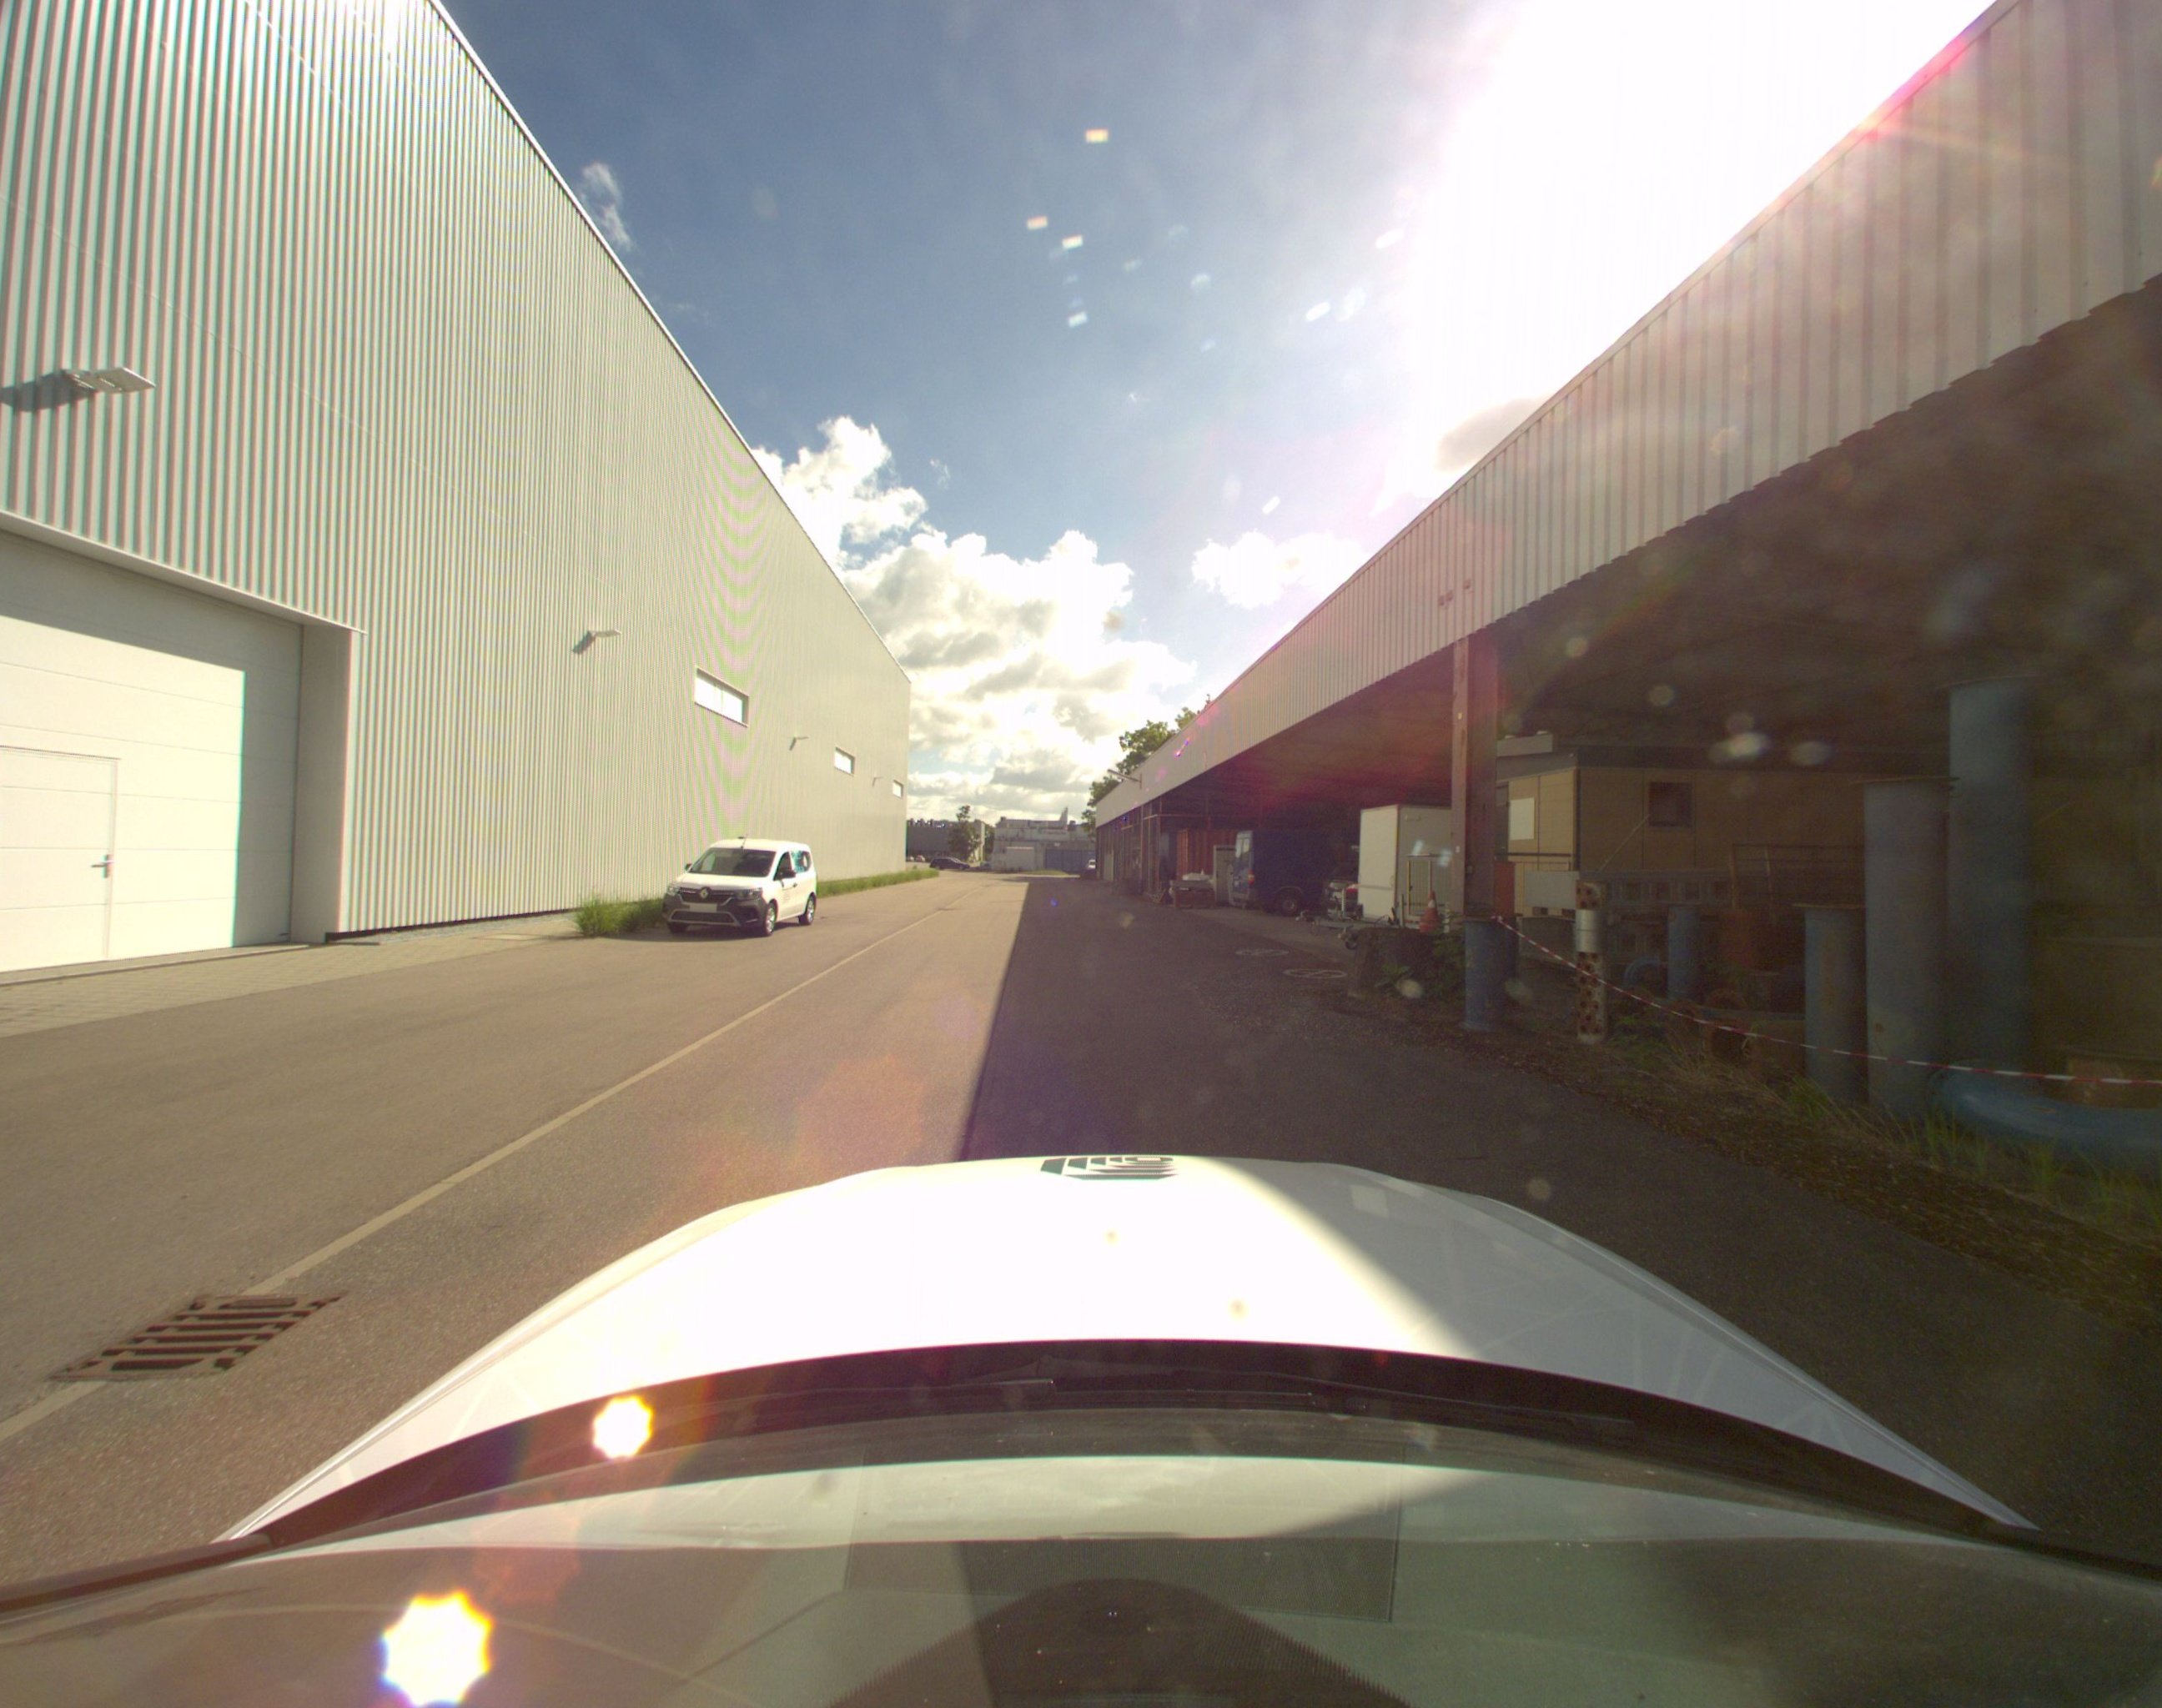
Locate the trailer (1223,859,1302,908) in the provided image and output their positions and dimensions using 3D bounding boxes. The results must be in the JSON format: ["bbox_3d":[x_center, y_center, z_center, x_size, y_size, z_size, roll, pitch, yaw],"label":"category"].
[{"bbox_3d":[5.556,0.894,25.089,2.088,1.462,1.641,0,-1,-1],"label":"trailer"}]

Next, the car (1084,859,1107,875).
[{"bbox_3d":[1.514,1.370,86.681,1.977,1.593,4.334,2,1,-4],"label":"car"}]

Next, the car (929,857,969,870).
[{"bbox_3d":[-15.869,1.142,97.965,4.520,1.443,1.984,1,-2,-4],"label":"car"}]

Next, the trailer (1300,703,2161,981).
[{"bbox_3d":[8.515,-0.172,11.325,10.270,3.295,2.672,0,0,-4],"label":"trailer"}]

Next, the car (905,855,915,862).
[{"bbox_3d":[-40.510,1.130,193.024,1.875,1.537,4.027,0,-1,-6],"label":"car"}]

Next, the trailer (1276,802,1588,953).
[{"bbox_3d":[5.739,0.355,13.635,4.532,2.335,1.686,0,0,-4],"label":"trailer"}]

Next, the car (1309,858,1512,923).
[{"bbox_3d":[7.772,0.834,19.447,4.099,1.454,1.847,0,-1,-4],"label":"car"}]

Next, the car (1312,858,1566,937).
[{"bbox_3d":[7.077,0.814,16.332,4.340,1.433,1.860,0,-1,-7],"label":"car"}]

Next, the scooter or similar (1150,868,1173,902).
[{"bbox_3d":[2.774,1.064,28.057,0.519,1.134,1.590,1,-1,-4],"label":"scooter or similar"}]

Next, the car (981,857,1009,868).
[{"bbox_3d":[-13.287,1.382,125.950,4.270,1.569,1.984,1,-2,-4],"label":"car"}]

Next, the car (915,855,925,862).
[{"bbox_3d":[-38.206,1.118,193.424,1.875,1.537,4.027,0,-1,-6],"label":"car"}]

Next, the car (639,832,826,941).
[{"bbox_3d":[-6.731,0.575,16.360,1.924,1.790,4.592,3,0,-3],"label":"car"}]

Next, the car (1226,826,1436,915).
[{"bbox_3d":[6.830,0.462,22.584,5.207,2.297,2.080,1,-1,-5],"label":"car"}]

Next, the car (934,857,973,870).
[{"bbox_3d":[-15.833,1.168,101.231,4.520,1.443,1.901,1,-2,-4],"label":"car"}]
